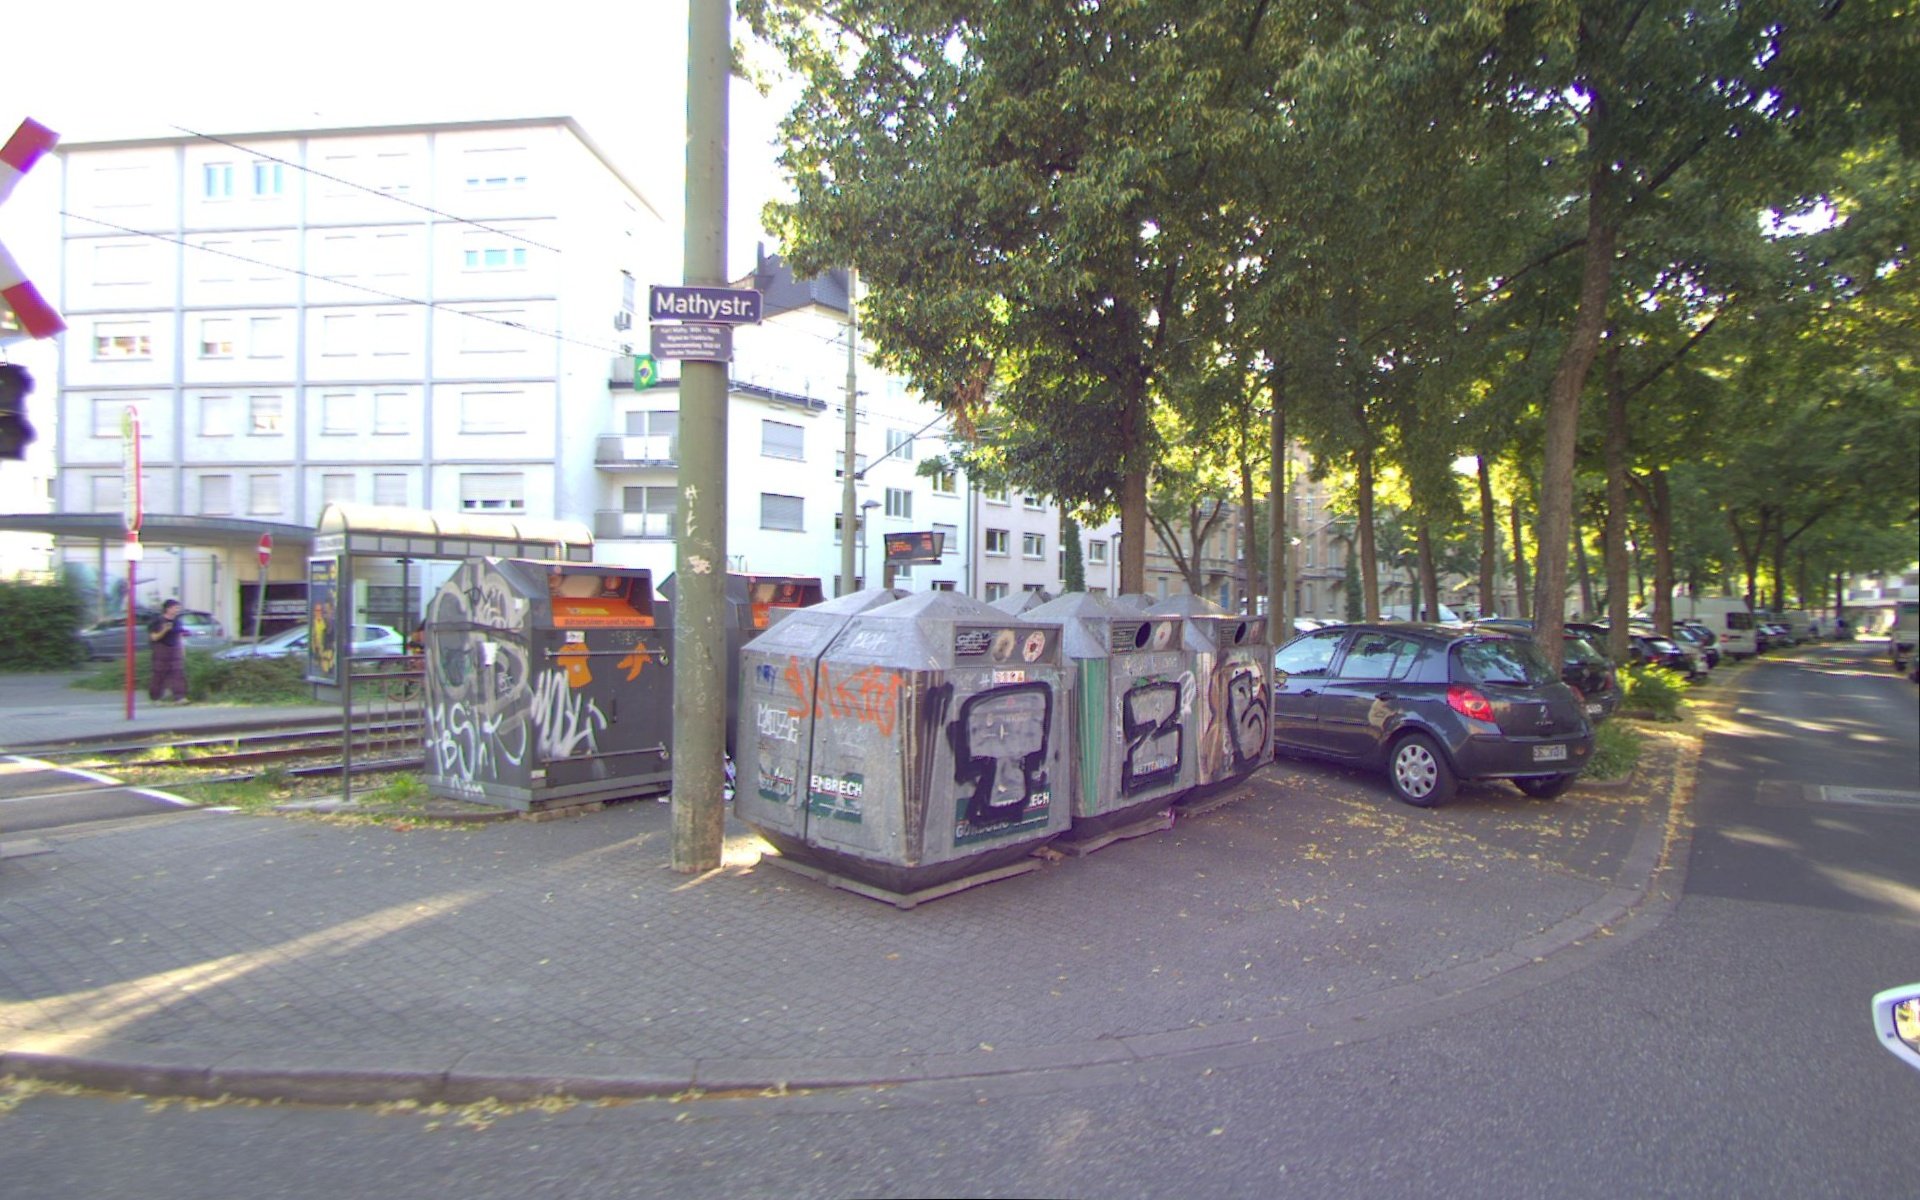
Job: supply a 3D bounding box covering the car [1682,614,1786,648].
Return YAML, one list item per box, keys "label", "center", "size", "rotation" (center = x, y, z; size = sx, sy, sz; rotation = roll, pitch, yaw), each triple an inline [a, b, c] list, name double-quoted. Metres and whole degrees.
- label: "car"
  center: [41.152, 1.614, 53.537]
  size: [1.790, 1.493, 4.076]
  rotation: [3, 1, -17]

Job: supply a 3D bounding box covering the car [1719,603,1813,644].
- label: "car"
  center: [49.257, 1.407, 61.493]
  size: [1.790, 2.239, 4.076]
  rotation: [3, 1, -17]

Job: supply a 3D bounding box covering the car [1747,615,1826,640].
- label: "car"
  center: [59.784, 1.984, 72.722]
  size: [1.790, 1.493, 4.076]
  rotation: [3, 1, -17]

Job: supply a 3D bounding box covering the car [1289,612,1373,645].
- label: "car"
  center: [19.437, 1.503, 52.805]
  size: [1.829, 1.492, 4.225]
  rotation: [-1, -4, -19]

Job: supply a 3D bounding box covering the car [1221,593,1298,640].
- label: "car"
  center: [19.325, 1.071, 64.758]
  size: [2.526, 2.925, 5.447]
  rotation: [-2, -1, 44]

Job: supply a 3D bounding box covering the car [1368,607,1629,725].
- label: "car"
  center: [8.801, 0.996, 16.739]
  size: [1.585, 1.583, 3.597]
  rotation: [1, 2, -24]

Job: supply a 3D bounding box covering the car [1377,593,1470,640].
- label: "car"
  center: [29.433, 1.103, 64.025]
  size: [2.238, 2.605, 5.248]
  rotation: [-1, -4, -19]

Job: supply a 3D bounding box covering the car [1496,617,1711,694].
- label: "car"
  center: [14.770, 1.235, 23.272]
  size: [1.716, 1.410, 3.800]
  rotation: [2, 1, -28]

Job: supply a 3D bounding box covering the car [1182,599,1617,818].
- label: "car"
  center: [3.940, 0.836, 9.684]
  size: [1.585, 1.541, 3.712]
  rotation: [1, 2, -24]

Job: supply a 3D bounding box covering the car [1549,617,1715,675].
- label: "car"
  center: [20.395, 1.374, 30.632]
  size: [1.716, 1.440, 3.800]
  rotation: [2, 1, -28]

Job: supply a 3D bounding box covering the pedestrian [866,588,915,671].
- label: "pedestrian"
  center: [-1.643, 0.687, 23.865]
  size: [0.837, 1.936, 0.835]
  rotation: [0, -1, 35]

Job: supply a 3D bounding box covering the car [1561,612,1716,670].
- label: "car"
  center: [22.215, 1.311, 33.029]
  size: [1.716, 1.608, 3.800]
  rotation: [2, 1, -28]

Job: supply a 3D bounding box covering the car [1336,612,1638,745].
- label: "car"
  center: [7.347, 1.001, 14.387]
  size: [1.585, 1.467, 3.596]
  rotation: [1, 2, -24]

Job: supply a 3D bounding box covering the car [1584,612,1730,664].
- label: "car"
  center: [24.227, 1.287, 35.054]
  size: [1.716, 1.501, 3.800]
  rotation: [2, 1, -28]

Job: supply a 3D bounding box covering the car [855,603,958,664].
- label: "car"
  center: [-1.634, 1.007, 28.904]
  size: [1.585, 1.527, 4.220]
  rotation: [-1, -4, -23]

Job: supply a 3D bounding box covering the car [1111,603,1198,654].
- label: "car"
  center: [7.599, 1.177, 39.730]
  size: [1.825, 1.771, 4.234]
  rotation: [-2, -3, -12]

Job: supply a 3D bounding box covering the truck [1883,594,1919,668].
- label: "truck"
  center: [32.727, 1.027, 33.843]
  size: [2.340, 2.383, 4.360]
  rotation: [0, -1, 42]

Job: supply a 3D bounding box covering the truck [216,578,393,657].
- label: "truck"
  center: [-22.185, 0.576, 34.091]
  size: [4.871, 2.568, 2.001]
  rotation: [0, 0, 8]

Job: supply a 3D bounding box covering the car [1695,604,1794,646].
- label: "car"
  center: [44.695, 1.394, 57.327]
  size: [1.790, 2.067, 4.076]
  rotation: [3, 1, -17]

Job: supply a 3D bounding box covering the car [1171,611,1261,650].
- label: "car"
  center: [11.405, 1.400, 45.050]
  size: [1.829, 1.492, 4.225]
  rotation: [-1, -4, -19]

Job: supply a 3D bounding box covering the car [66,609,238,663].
- label: "car"
  center: [-24.438, 1.047, 30.441]
  size: [3.919, 1.553, 2.001]
  rotation: [0, -1, 11]

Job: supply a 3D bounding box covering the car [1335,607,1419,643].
- label: "car"
  center: [22.807, 1.375, 55.063]
  size: [1.829, 1.721, 4.225]
  rotation: [-1, -4, -19]

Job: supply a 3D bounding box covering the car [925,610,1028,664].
- label: "car"
  center: [0.428, 1.199, 31.331]
  size: [1.585, 1.477, 4.220]
  rotation: [-1, -4, -23]

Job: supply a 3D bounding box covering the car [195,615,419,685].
- label: "car"
  center: [-14.843, 1.084, 23.015]
  size: [1.689, 1.465, 3.984]
  rotation: [-1, -1, 37]

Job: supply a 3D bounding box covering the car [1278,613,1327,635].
- label: "car"
  center: [24.008, 1.651, 70.348]
  size: [1.693, 1.465, 3.975]
  rotation: [-2, -1, 44]

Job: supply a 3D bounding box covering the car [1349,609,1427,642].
- label: "car"
  center: [25.345, 1.550, 59.635]
  size: [1.829, 1.721, 4.225]
  rotation: [-1, -4, -19]

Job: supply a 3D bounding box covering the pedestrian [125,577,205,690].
- label: "pedestrian"
  center: [-12.847, 0.520, 16.242]
  size: [0.818, 1.759, 0.866]
  rotation: [2, 1, 41]

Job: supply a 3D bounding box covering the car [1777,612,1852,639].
- label: "car"
  center: [66.321, 1.974, 78.054]
  size: [1.790, 1.813, 4.076]
  rotation: [3, 1, -17]

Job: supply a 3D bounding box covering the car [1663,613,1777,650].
- label: "car"
  center: [36.558, 1.478, 48.454]
  size: [1.790, 1.493, 4.076]
  rotation: [3, 1, -17]

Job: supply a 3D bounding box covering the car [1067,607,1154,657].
- label: "car"
  center: [5.581, 1.256, 37.794]
  size: [1.825, 1.672, 4.234]
  rotation: [-2, -3, -12]

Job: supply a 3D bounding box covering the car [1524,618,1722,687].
- label: "car"
  center: [16.742, 1.292, 25.548]
  size: [1.716, 1.410, 3.800]
  rotation: [2, 1, -28]

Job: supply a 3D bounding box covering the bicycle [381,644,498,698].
- label: "bicycle"
  center: [-8.386, 1.125, 16.228]
  size: [0.443, 0.794, 1.635]
  rotation: [0, -1, 40]

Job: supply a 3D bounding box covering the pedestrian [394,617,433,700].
- label: "pedestrian"
  center: [-8.861, 0.936, 16.291]
  size: [0.333, 1.319, 0.450]
  rotation: [0, 0, 39]

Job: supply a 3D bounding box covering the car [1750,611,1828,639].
- label: "car"
  center: [61.712, 1.816, 74.851]
  size: [1.790, 1.813, 4.076]
  rotation: [3, 1, -17]

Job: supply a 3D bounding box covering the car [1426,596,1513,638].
- label: "car"
  center: [35.558, 1.225, 70.288]
  size: [2.238, 2.605, 5.248]
  rotation: [-1, -4, -19]

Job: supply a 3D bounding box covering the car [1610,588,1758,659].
- label: "car"
  center: [28.482, 0.862, 39.702]
  size: [1.790, 2.509, 4.483]
  rotation: [3, 1, -17]

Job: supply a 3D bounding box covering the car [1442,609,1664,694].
- label: "car"
  center: [12.819, 1.063, 21.942]
  size: [1.716, 1.517, 3.800]
  rotation: [2, 1, -28]

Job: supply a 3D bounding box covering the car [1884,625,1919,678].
- label: "car"
  center: [27.244, 1.426, 28.251]
  size: [1.552, 1.403, 3.586]
  rotation: [0, -1, 38]

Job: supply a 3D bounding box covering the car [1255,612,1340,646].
- label: "car"
  center: [17.063, 1.493, 51.001]
  size: [1.829, 1.492, 4.225]
  rotation: [-1, -4, -19]

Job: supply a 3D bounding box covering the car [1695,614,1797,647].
- label: "car"
  center: [43.164, 1.659, 55.283]
  size: [1.790, 1.493, 4.076]
  rotation: [3, 1, -17]
